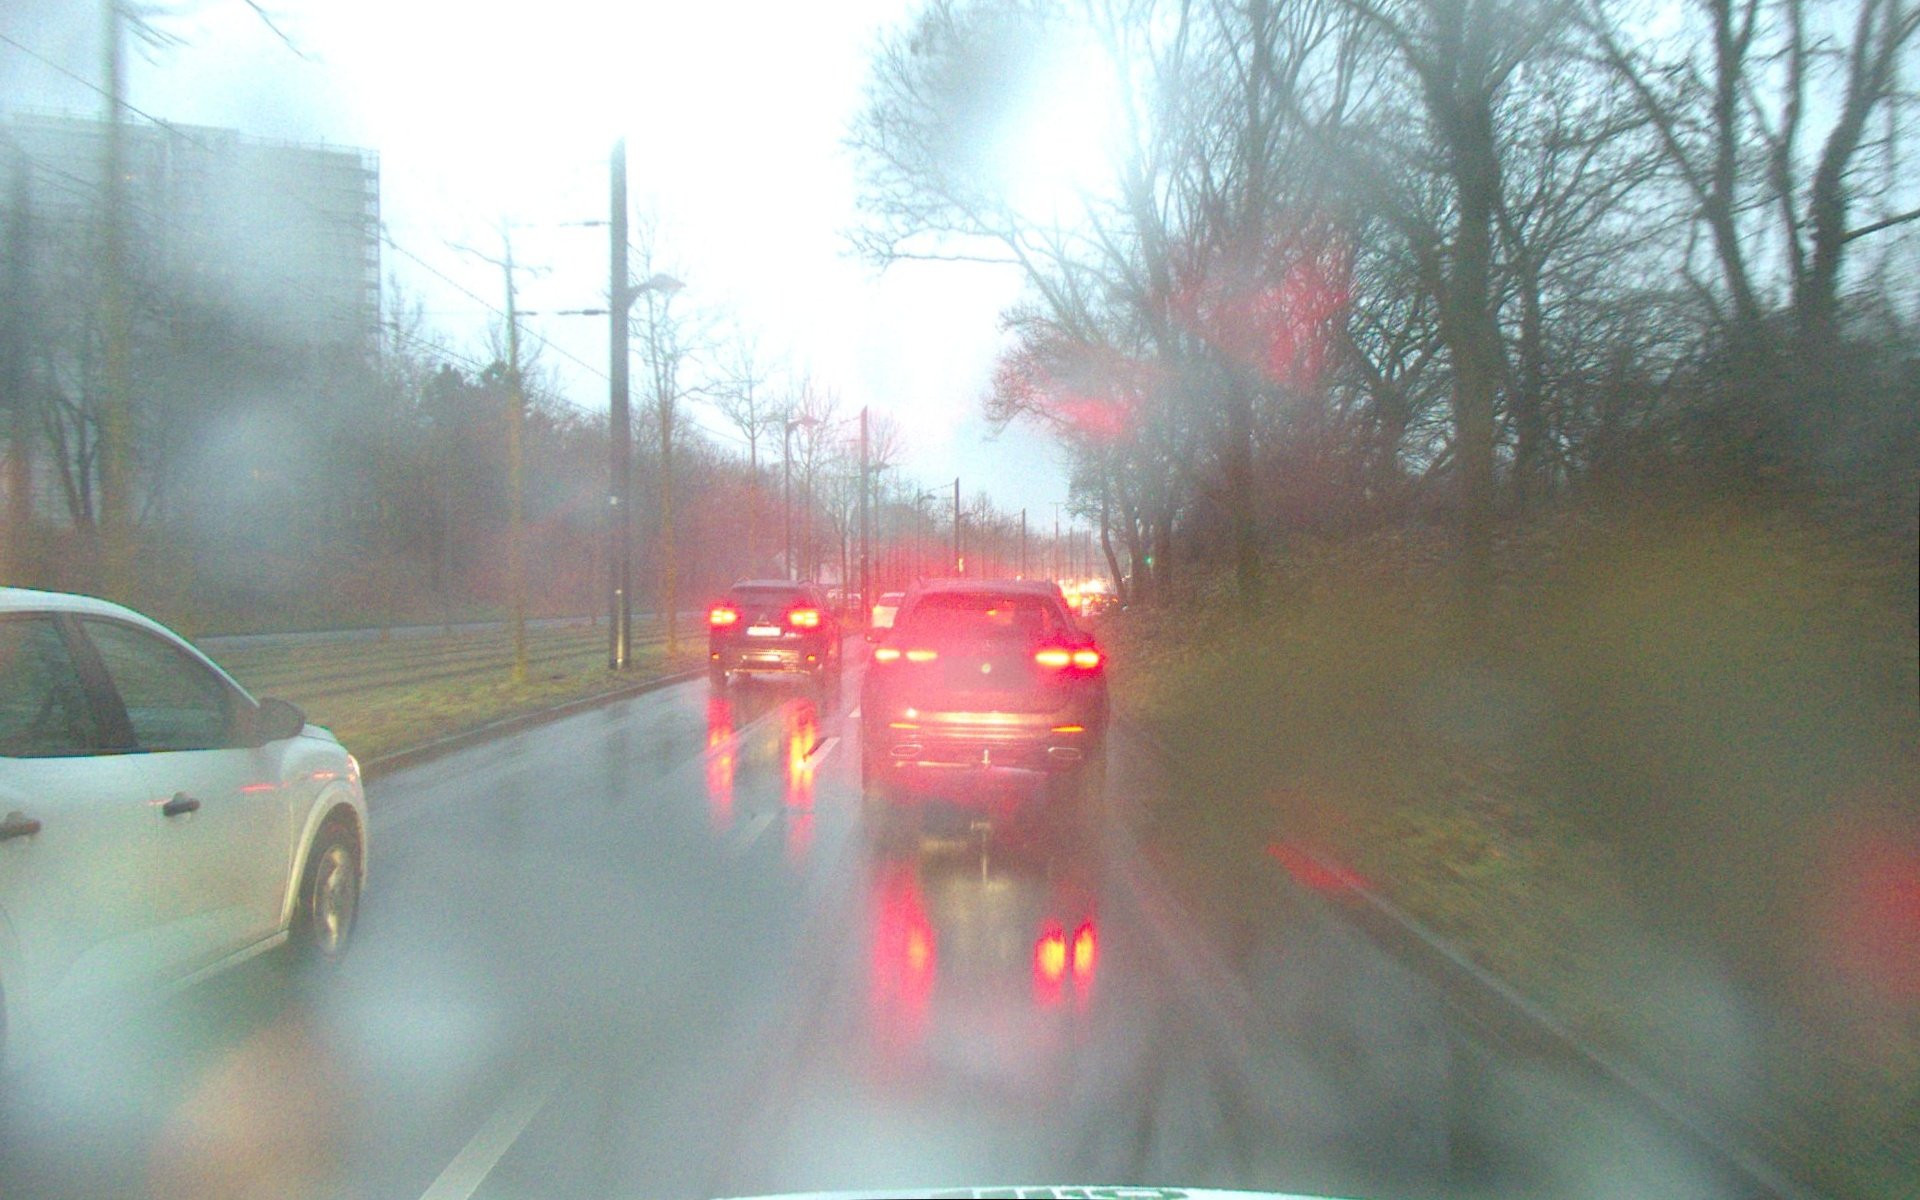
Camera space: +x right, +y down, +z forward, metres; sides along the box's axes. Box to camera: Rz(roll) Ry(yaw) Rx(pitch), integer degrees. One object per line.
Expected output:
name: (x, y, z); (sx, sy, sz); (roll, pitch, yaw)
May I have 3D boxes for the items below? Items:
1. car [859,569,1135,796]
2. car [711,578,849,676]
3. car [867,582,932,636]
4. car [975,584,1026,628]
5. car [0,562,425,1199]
car: (0.191, 0.569, 13.821); (1.958, 1.612, 3.998); (1, 1, -2)
car: (-2.879, 0.381, 27.191); (1.842, 1.485, 4.000); (0, 1, 0)
car: (-1.900, 0.261, 52.747); (1.841, 1.621, 4.001); (0, 1, 1)
car: (1.545, 0.199, 61.641); (1.672, 1.585, 3.998); (0, 0, 5)
car: (-3.137, 0.679, 4.979); (1.673, 1.551, 4.135); (0, 0, 1)
